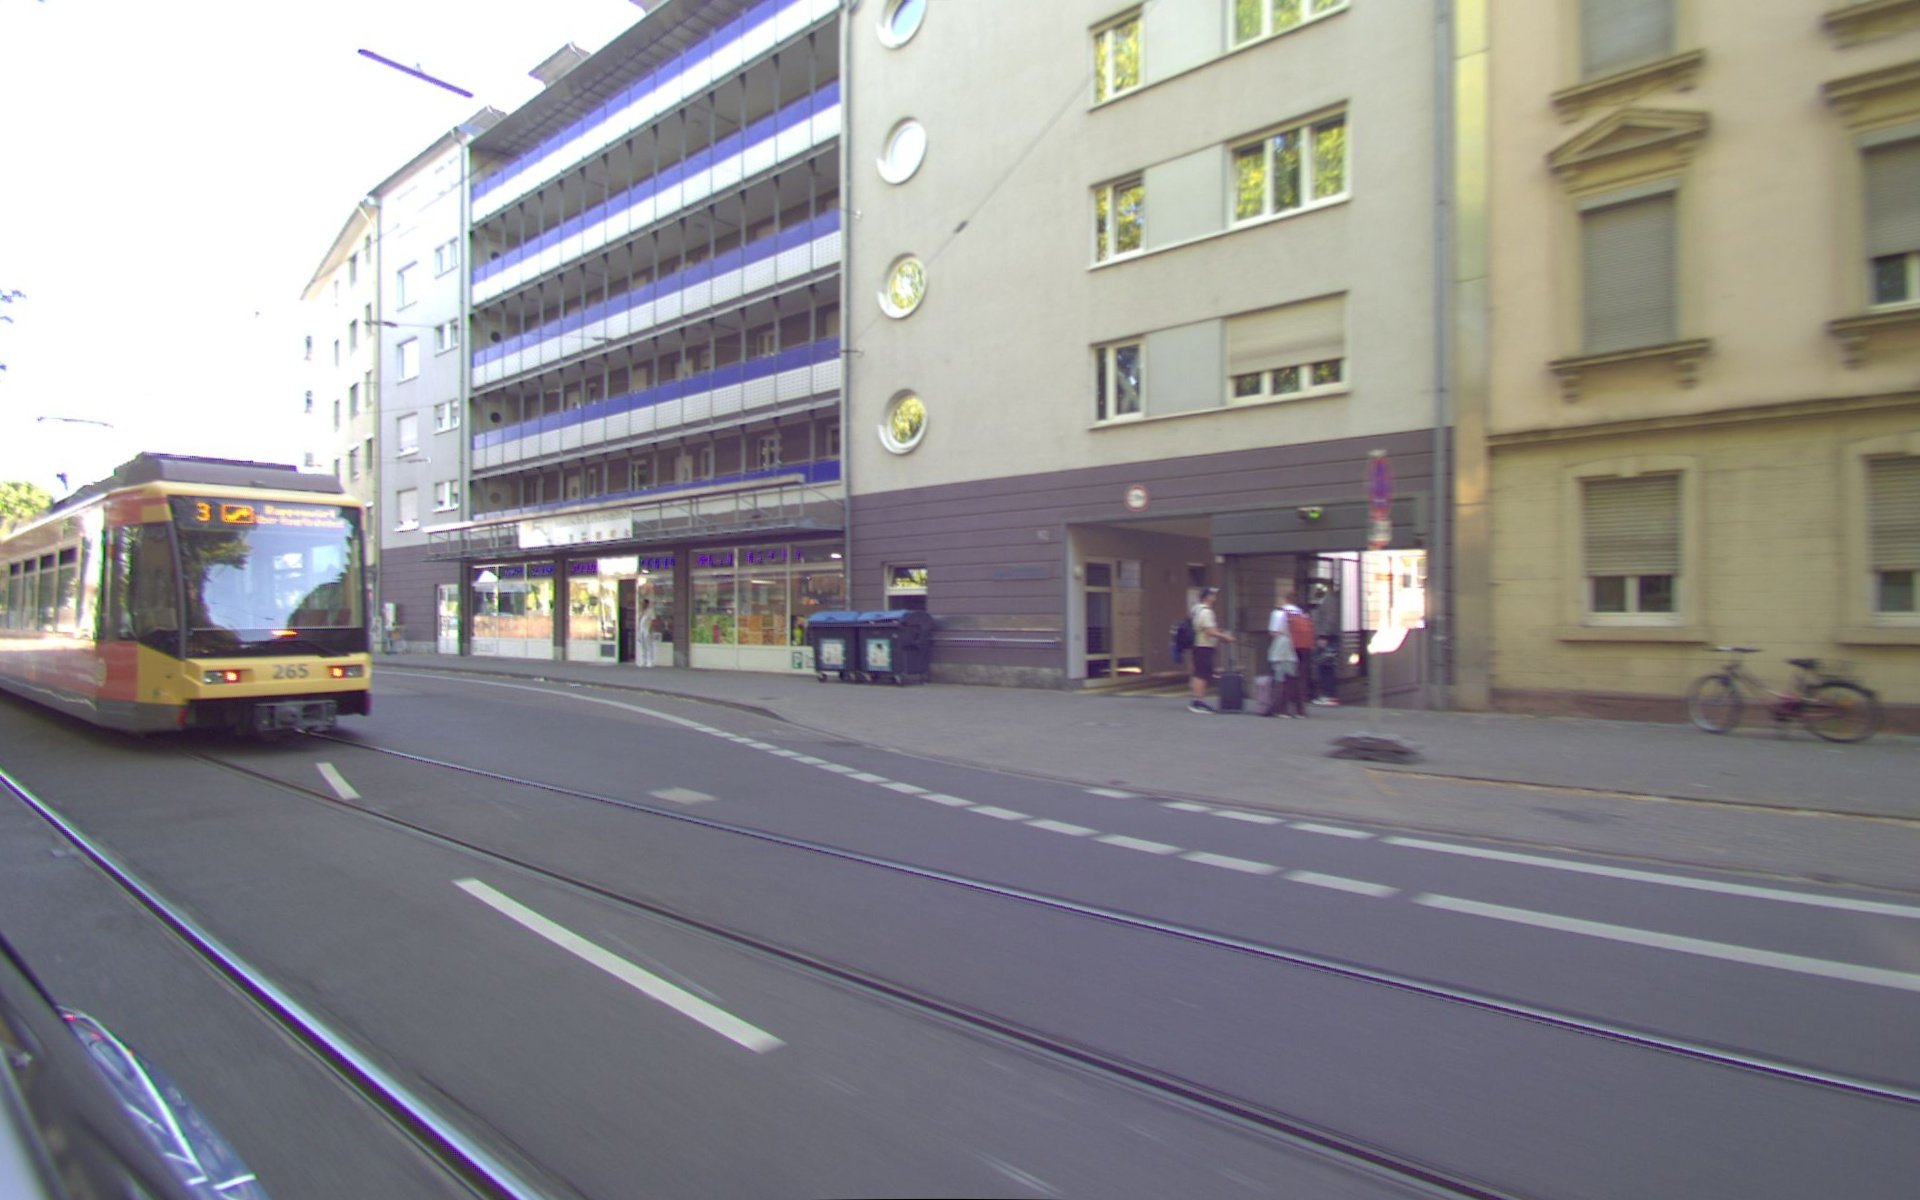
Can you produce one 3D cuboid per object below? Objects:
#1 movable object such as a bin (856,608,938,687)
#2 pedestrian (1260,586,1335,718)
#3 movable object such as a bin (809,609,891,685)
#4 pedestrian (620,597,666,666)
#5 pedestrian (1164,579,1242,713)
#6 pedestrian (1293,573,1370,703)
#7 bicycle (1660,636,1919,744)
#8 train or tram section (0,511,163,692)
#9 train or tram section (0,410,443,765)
[{"bbox_3d":[-1.213,0.895,19.558,1.209,1.462,1.046,-1,-1,37],"label":"movable object such as a bin"},{"bbox_3d":[4.407,0.657,13.214,0.686,1.645,0.720,-1,1,40],"label":"pedestrian"},{"bbox_3d":[-2.204,0.911,20.291,1.212,1.462,1.128,-1,-1,37],"label":"movable object such as a bin"},{"bbox_3d":[-8.260,0.820,26.378,0.819,1.726,0.779,-1,2,40],"label":"pedestrian"},{"bbox_3d":[3.411,0.622,14.198,0.735,1.798,0.856,-1,0,40],"label":"pedestrian"},{"bbox_3d":[5.470,0.538,14.891,0.729,1.827,0.952,-1,1,42],"label":"pedestrian"},{"bbox_3d":[8.718,0.893,10.620,0.639,0.978,2.142,-1,0,-38],"label":"bicycle"},{"bbox_3d":[-22.943,0.130,24.852,13.362,3.512,2.878,-1,-1,41],"label":"train or tram section"},{"bbox_3d":[-12.504,-0.024,15.769,14.190,3.512,2.878,-1,-1,41],"label":"train or tram section"}]
